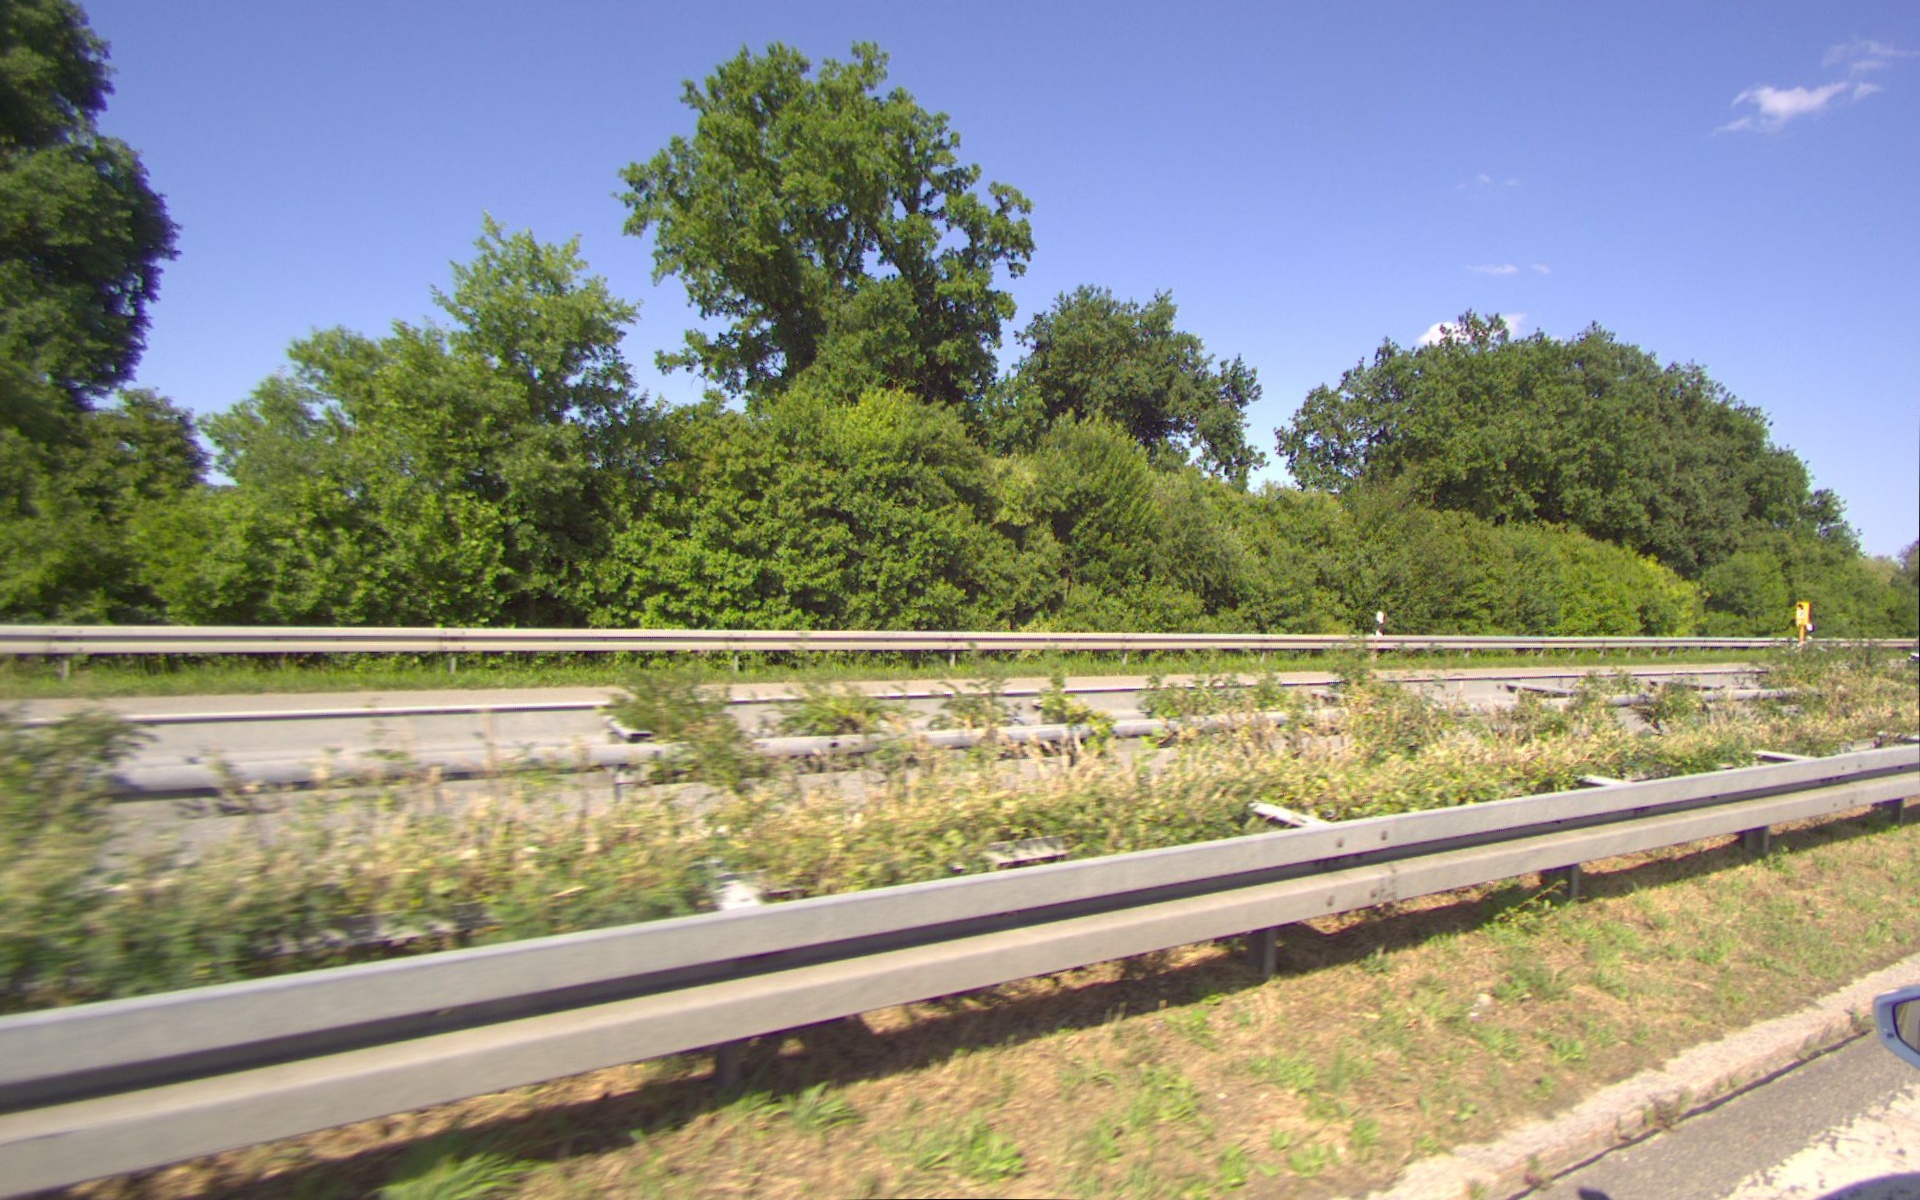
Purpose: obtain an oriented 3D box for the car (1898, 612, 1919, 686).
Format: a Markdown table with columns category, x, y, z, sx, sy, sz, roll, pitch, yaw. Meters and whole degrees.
| category | x | y | z | sx | sy | sz | roll | pitch | yaw |
| --- | --- | --- | --- | --- | --- | --- | --- | --- | --- |
| car | 20.676 | 0.997 | 20.111 | 3.835 | 1.447 | 1.721 | 2 | -1 | -30 |
